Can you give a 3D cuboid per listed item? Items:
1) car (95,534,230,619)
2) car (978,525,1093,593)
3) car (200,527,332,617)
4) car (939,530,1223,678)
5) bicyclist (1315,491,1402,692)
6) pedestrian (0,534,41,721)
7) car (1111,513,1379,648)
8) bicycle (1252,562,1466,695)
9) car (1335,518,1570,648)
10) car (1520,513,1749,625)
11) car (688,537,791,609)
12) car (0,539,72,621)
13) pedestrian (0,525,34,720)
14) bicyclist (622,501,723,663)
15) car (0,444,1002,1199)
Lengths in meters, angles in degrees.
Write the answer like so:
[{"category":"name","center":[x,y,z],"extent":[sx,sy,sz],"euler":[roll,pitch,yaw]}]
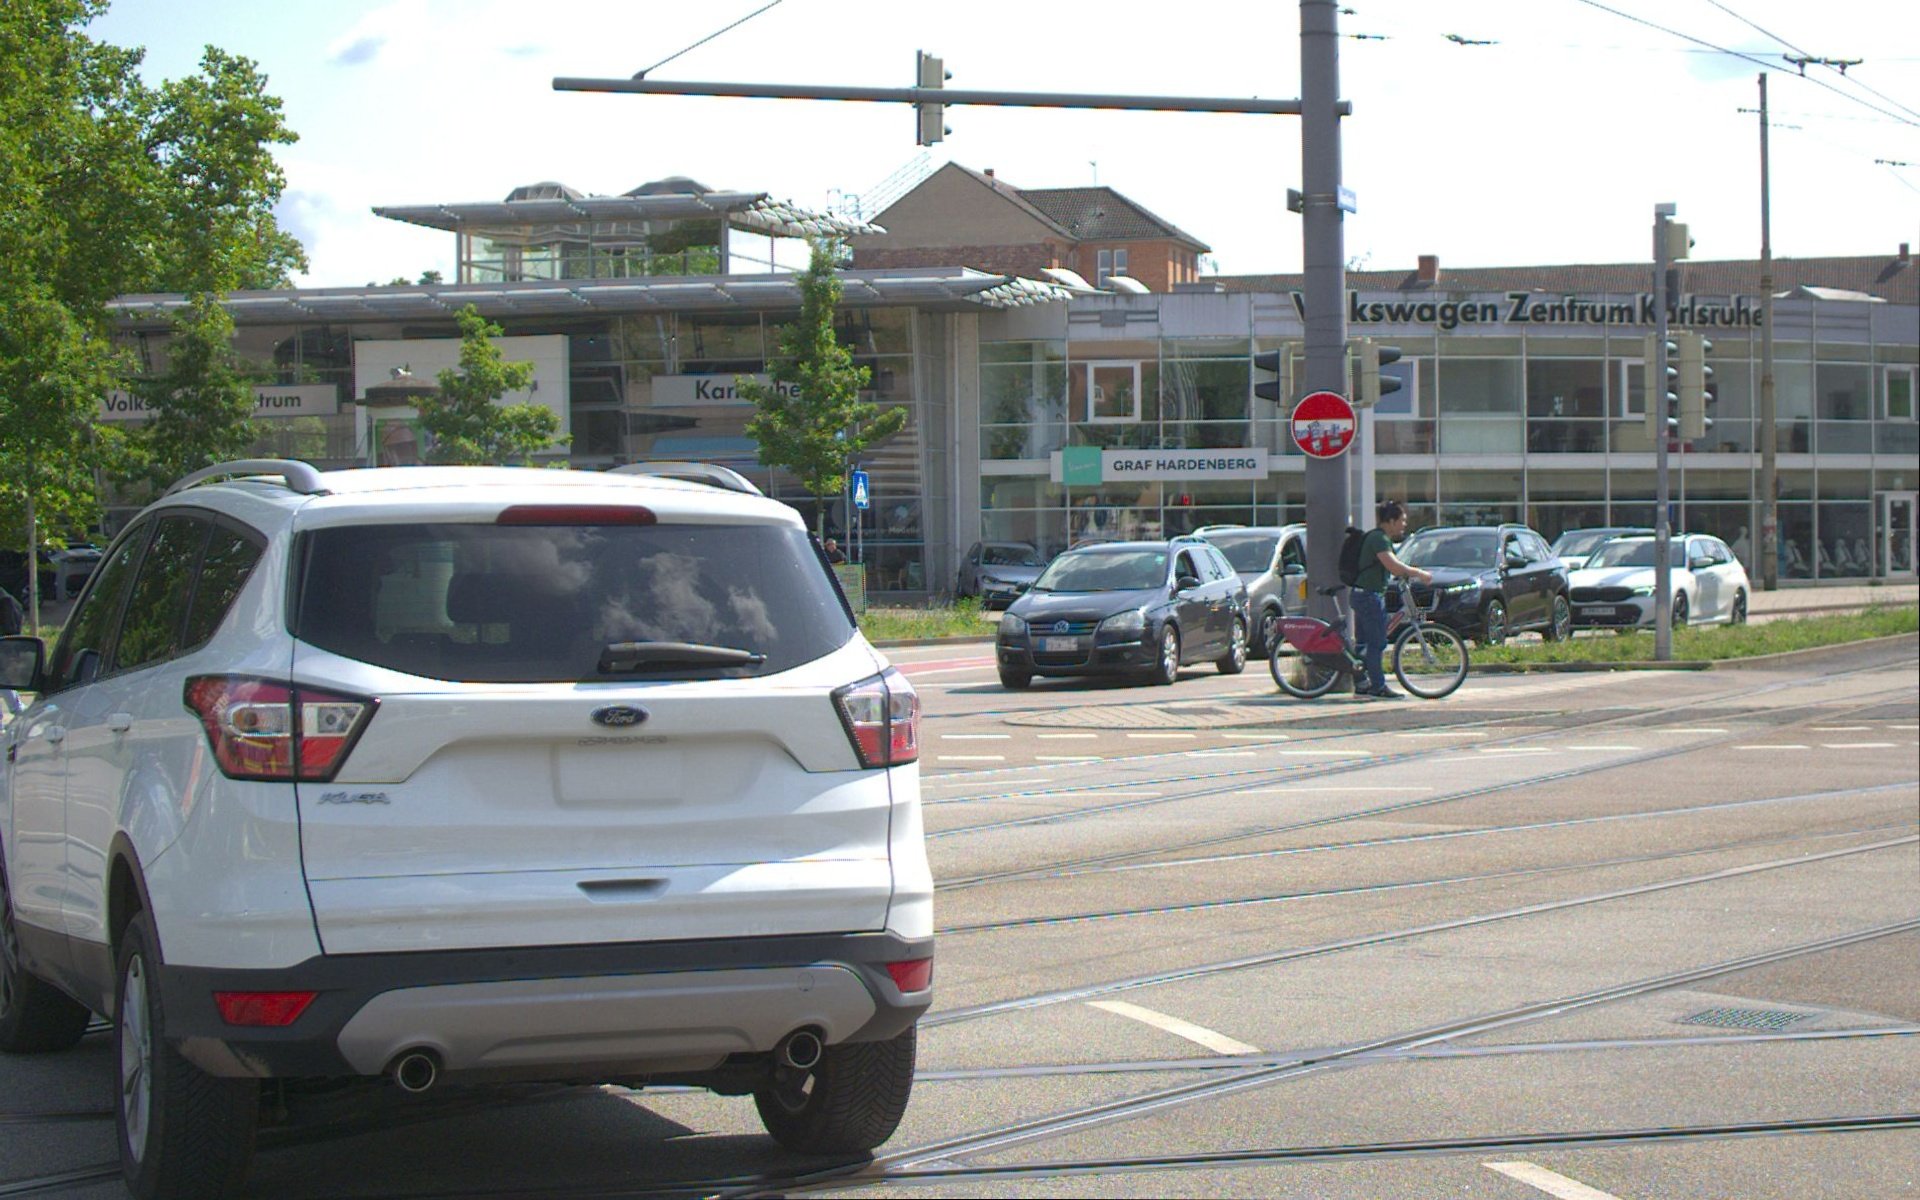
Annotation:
[{"category":"car","center":[-19.030,-0.554,82.172],"extent":[1.968,1.930,4.230],"euler":[-2,0,3]},{"category":"car","center":[1.850,-0.986,83.027],"extent":[1.819,1.528,3.914],"euler":[-2,0,15]},{"category":"car","center":[-16.430,-0.652,81.544],"extent":[1.994,2.007,4.230],"euler":[-2,0,3]},{"category":"car","center":[1.283,0.009,34.824],"extent":[1.739,1.368,3.637],"euler":[-1,1,21]},{"category":"bicyclist","center":[3.483,-0.082,30.053],"extent":[0.660,1.732,0.639],"euler":[1,2,15]},{"category":"pedestrian","center":[-9.098,0.247,32.121],"extent":[0.923,1.738,0.589],"euler":[1,1,-18]},{"category":"car","center":[3.596,-0.268,42.741],"extent":[1.740,1.568,3.993],"euler":[-1,1,30]},{"category":"bicycle","center":[3.484,0.236,30.028],"extent":[1.780,1.121,0.639],"euler":[0,2,15]},{"category":"car","center":[6.014,-0.236,41.645],"extent":[1.691,1.456,3.963],"euler":[-1,1,25]},{"category":"car","center":[9.394,-0.453,47.639],"extent":[1.902,1.456,3.962],"euler":[-1,1,30]},{"category":"car","center":[-4.981,-0.598,78.256],"extent":[1.818,1.528,3.916],"euler":[-2,0,3]},{"category":"car","center":[-23.539,-0.459,83.672],"extent":[1.968,1.930,5.067],"euler":[-2,0,7]},{"category":"pedestrian","center":[-8.848,0.189,30.946],"extent":[0.923,1.738,0.589],"euler":[1,1,-18]},{"category":"bicyclist","center":[-3.033,-0.198,36.248],"extent":[0.760,1.677,0.759],"euler":[-1,1,22]},{"category":"car","center":[-1.487,0.491,8.987],"extent":[1.826,1.658,3.956],"euler":[-1,1,-21]}]
